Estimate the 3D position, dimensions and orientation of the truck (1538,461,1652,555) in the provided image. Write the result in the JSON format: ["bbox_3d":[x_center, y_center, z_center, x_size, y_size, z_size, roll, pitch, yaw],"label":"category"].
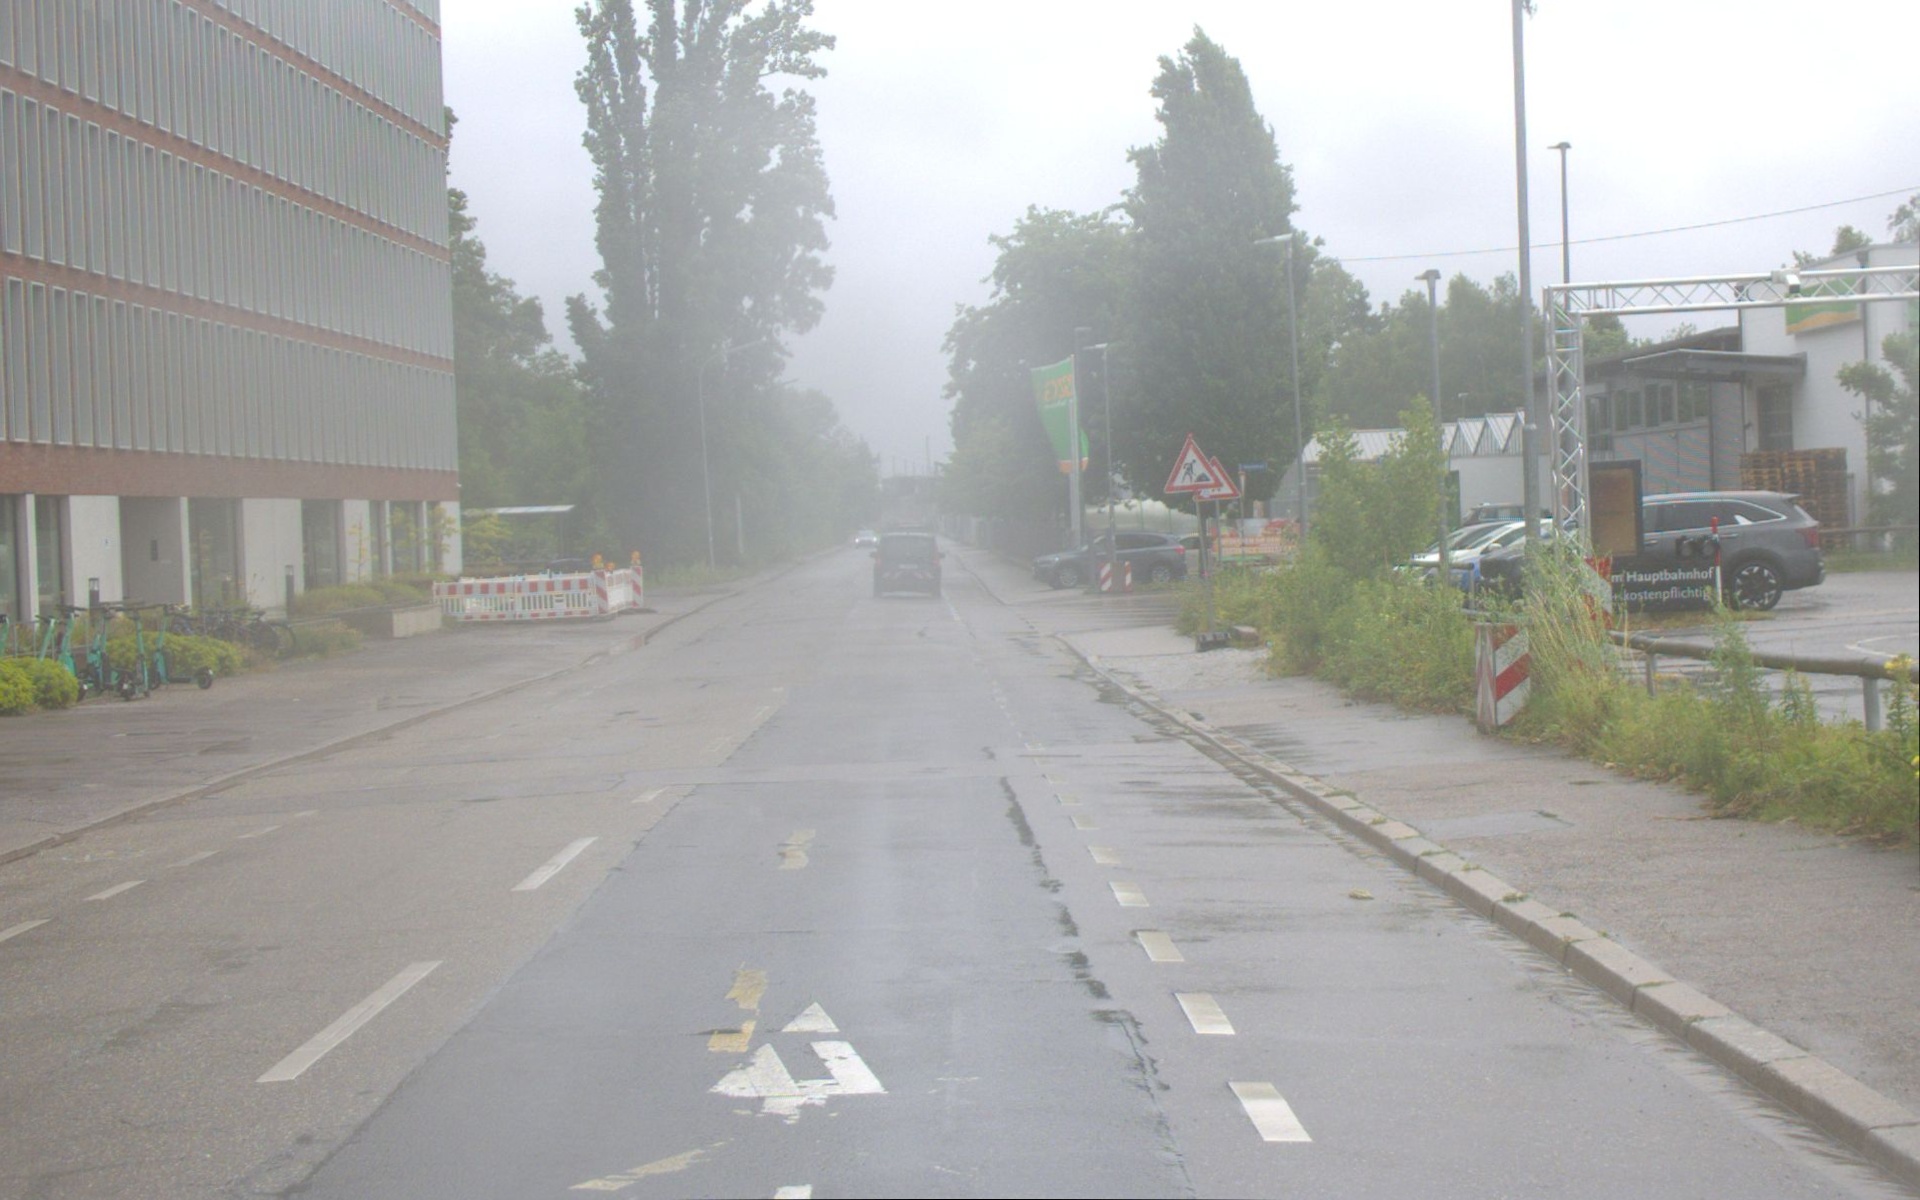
[{"bbox_3d":[19.447,-2.810,105.663,2.301,2.650,7.416,-3,1,3],"label":"truck"}]

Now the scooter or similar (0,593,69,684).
[{"bbox_3d":[-12.768,0.531,46.373,1.317,1.173,0.467,-3,1,6],"label":"scooter or similar"}]

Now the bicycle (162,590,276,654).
[{"bbox_3d":[-12.848,0.379,59.615,1.859,1.073,0.544,0,1,-1],"label":"bicycle"}]

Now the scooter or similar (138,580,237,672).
[{"bbox_3d":[-10.802,0.363,48.071,1.318,1.226,0.467,-2,1,29],"label":"scooter or similar"}]

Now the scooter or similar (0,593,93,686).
[{"bbox_3d":[-12.314,0.532,45.829,1.317,1.173,0.467,-3,1,6],"label":"scooter or similar"}]

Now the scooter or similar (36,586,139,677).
[{"bbox_3d":[-12.104,0.432,47.713,1.316,1.173,0.467,-3,1,-12],"label":"scooter or similar"}]

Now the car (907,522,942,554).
[{"bbox_3d":[-1.978,-3.457,191.870,1.730,1.681,3.897,-2,0,2],"label":"car"}]

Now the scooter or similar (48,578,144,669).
[{"bbox_3d":[-12.204,0.328,48.562,0.467,1.226,1.205,-2,1,42],"label":"scooter or similar"}]

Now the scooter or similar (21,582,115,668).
[{"bbox_3d":[-13.296,0.371,51.254,1.226,1.204,0.417,-3,1,7],"label":"scooter or similar"}]

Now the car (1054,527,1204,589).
[{"bbox_3d":[4.795,-1.194,97.820,4.136,1.563,1.765,-3,1,2],"label":"car"}]

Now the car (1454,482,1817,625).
[{"bbox_3d":[9.396,-0.633,48.165,4.681,1.729,2.128,-3,0,4],"label":"car"}]

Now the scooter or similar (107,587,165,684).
[{"bbox_3d":[-10.889,0.459,45.463,0.466,1.226,1.321,-3,1,-3],"label":"scooter or similar"}]

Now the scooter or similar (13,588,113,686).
[{"bbox_3d":[-11.705,0.488,44.841,1.319,1.226,0.507,-2,1,38],"label":"scooter or similar"}]

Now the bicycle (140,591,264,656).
[{"bbox_3d":[-12.817,0.390,58.139,1.948,1.073,0.620,0,1,-1],"label":"bicycle"}]

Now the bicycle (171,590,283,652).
[{"bbox_3d":[-12.891,0.362,60.496,1.859,1.073,0.544,0,1,-1],"label":"bicycle"}]

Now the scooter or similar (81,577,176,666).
[{"bbox_3d":[-11.949,0.304,49.415,0.467,1.204,1.205,-2,1,42],"label":"scooter or similar"}]

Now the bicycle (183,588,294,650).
[{"bbox_3d":[-12.871,0.332,61.358,1.859,1.073,0.544,0,1,-1],"label":"bicycle"}]

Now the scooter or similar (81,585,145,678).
[{"bbox_3d":[-11.522,0.421,46.755,0.466,1.226,1.321,-3,1,-29],"label":"scooter or similar"}]

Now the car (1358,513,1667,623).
[{"bbox_3d":[8.223,-0.470,51.453,4.295,1.512,1.819,-1,0,0],"label":"car"}]

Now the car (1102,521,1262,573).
[{"bbox_3d":[6.762,-1.637,105.007,4.703,1.457,1.891,-1,1,-2],"label":"car"}]

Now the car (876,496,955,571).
[{"bbox_3d":[-1.236,-1.788,93.338,1.993,1.904,4.201,-3,1,-1],"label":"car"}]

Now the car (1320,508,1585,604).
[{"bbox_3d":[8.303,-0.730,58.240,4.181,1.504,1.890,-1,0,0],"label":"car"}]
